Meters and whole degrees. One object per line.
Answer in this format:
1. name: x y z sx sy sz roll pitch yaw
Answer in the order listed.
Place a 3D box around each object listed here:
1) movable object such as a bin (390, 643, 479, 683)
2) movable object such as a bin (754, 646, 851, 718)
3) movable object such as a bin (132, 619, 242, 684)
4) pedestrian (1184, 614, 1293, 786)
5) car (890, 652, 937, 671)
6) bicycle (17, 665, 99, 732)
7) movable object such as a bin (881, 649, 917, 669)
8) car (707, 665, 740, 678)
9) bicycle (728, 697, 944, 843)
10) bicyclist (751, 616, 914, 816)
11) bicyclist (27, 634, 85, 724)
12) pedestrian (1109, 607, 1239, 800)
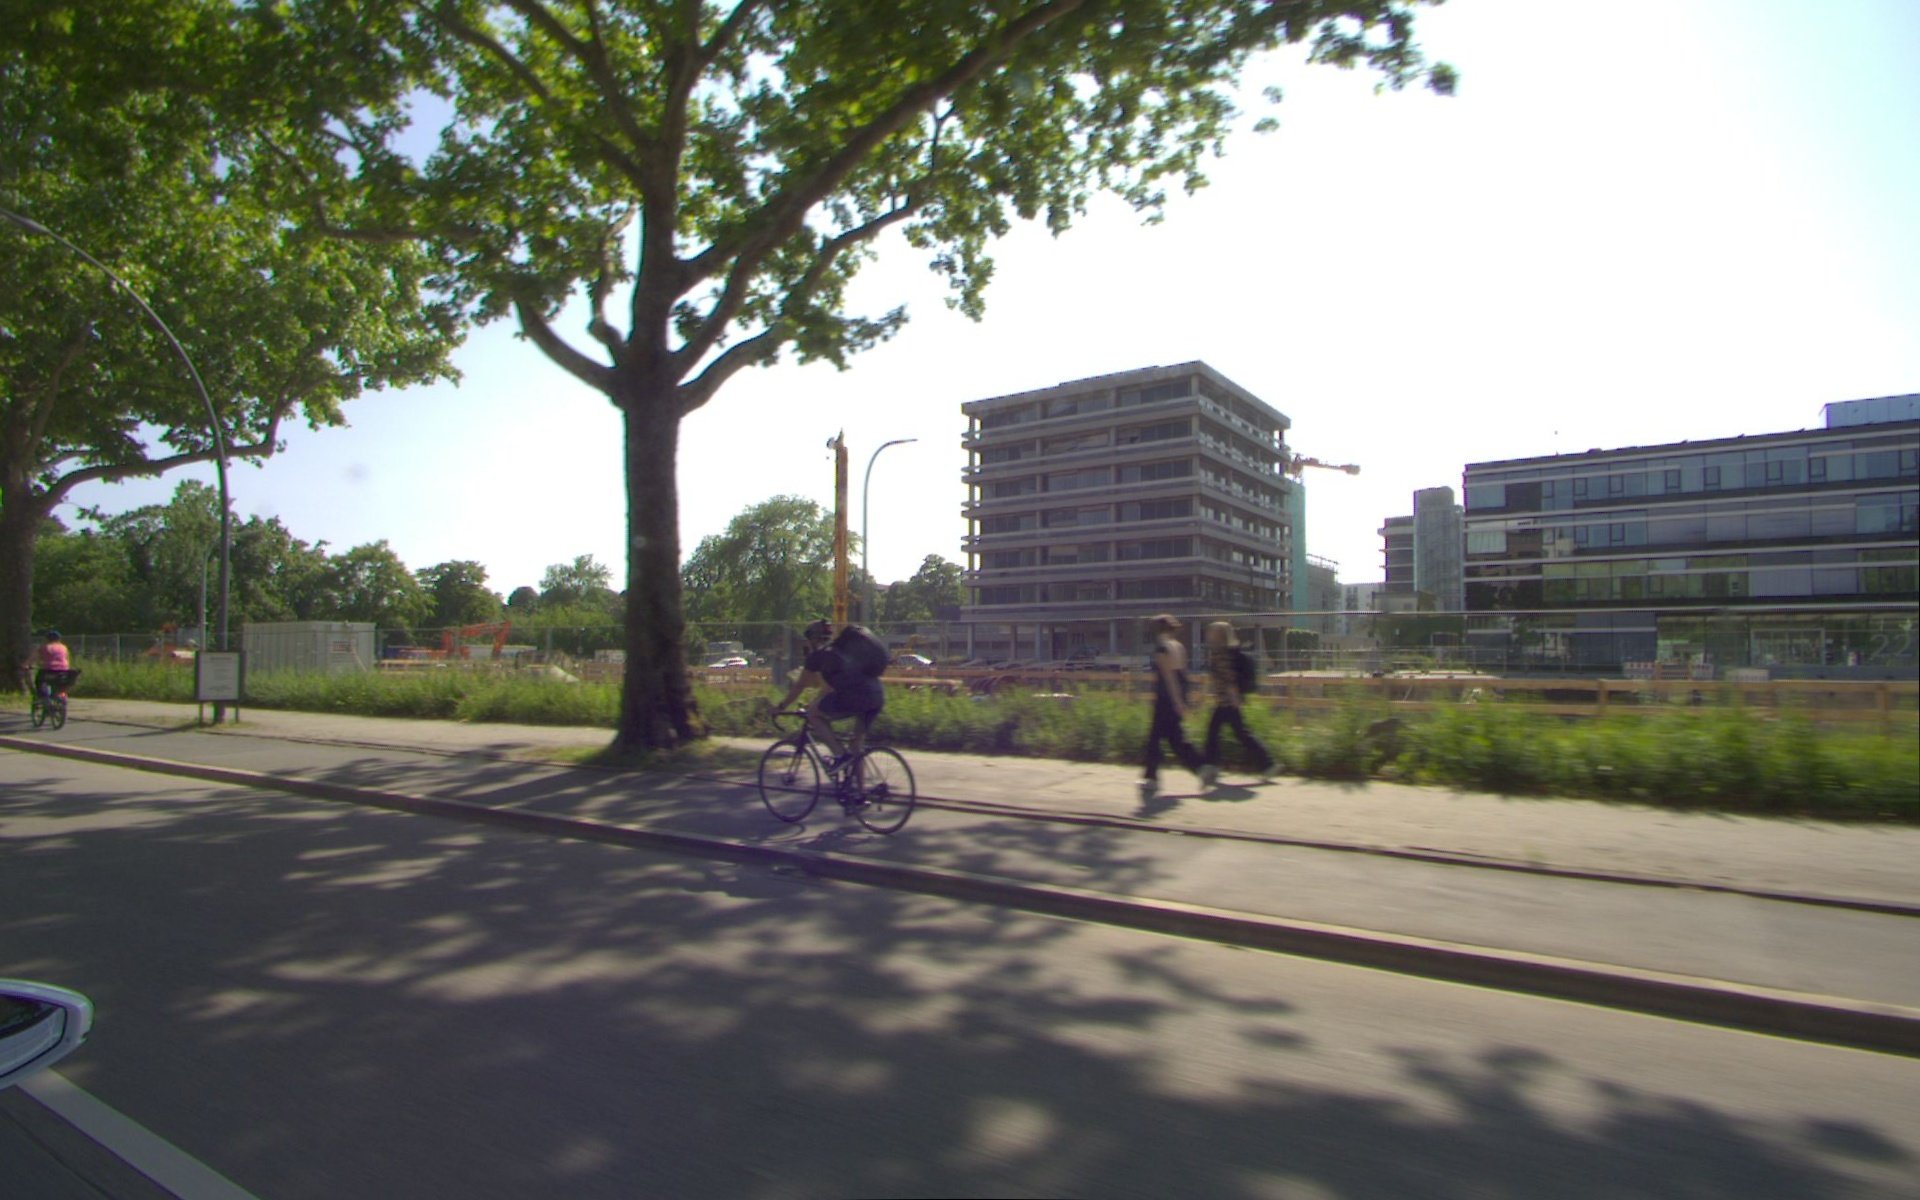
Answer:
1. movable object such as a bin: -41.118 4.961 78.450 3.249 3.011 5.167 -2 -4 34
2. movable object such as a bin: -12.821 6.501 80.096 6.634 5.238 11.772 1 -4 -14
3. movable object such as a bin: -39.232 2.627 50.777 5.898 3.109 2.367 -1 -4 31
4. pedestrian: 2.916 1.024 10.488 0.945 1.704 0.695 -1 -3 32
5. car: -4.525 5.994 97.459 4.377 1.793 1.787 -2 -4 35
6. bicycle: -16.544 1.782 18.354 1.919 1.144 0.650 -2 -2 33
7. movable object such as a bin: -6.419 6.213 105.657 2.631 2.038 2.747 -2 -3 32
8. car: -23.923 7.249 101.322 1.433 1.268 3.106 -2 -4 34
9. bicycle: -1.034 1.330 8.150 1.756 0.992 0.596 -2 -1 32
10. bicyclist: -1.043 0.900 8.154 1.197 1.509 0.597 -1 0 32
11. bicyclist: -16.650 1.434 18.443 0.722 1.620 0.618 -1 -1 32
12. pedestrian: 2.073 0.970 9.685 1.051 1.745 0.709 -1 -3 32
